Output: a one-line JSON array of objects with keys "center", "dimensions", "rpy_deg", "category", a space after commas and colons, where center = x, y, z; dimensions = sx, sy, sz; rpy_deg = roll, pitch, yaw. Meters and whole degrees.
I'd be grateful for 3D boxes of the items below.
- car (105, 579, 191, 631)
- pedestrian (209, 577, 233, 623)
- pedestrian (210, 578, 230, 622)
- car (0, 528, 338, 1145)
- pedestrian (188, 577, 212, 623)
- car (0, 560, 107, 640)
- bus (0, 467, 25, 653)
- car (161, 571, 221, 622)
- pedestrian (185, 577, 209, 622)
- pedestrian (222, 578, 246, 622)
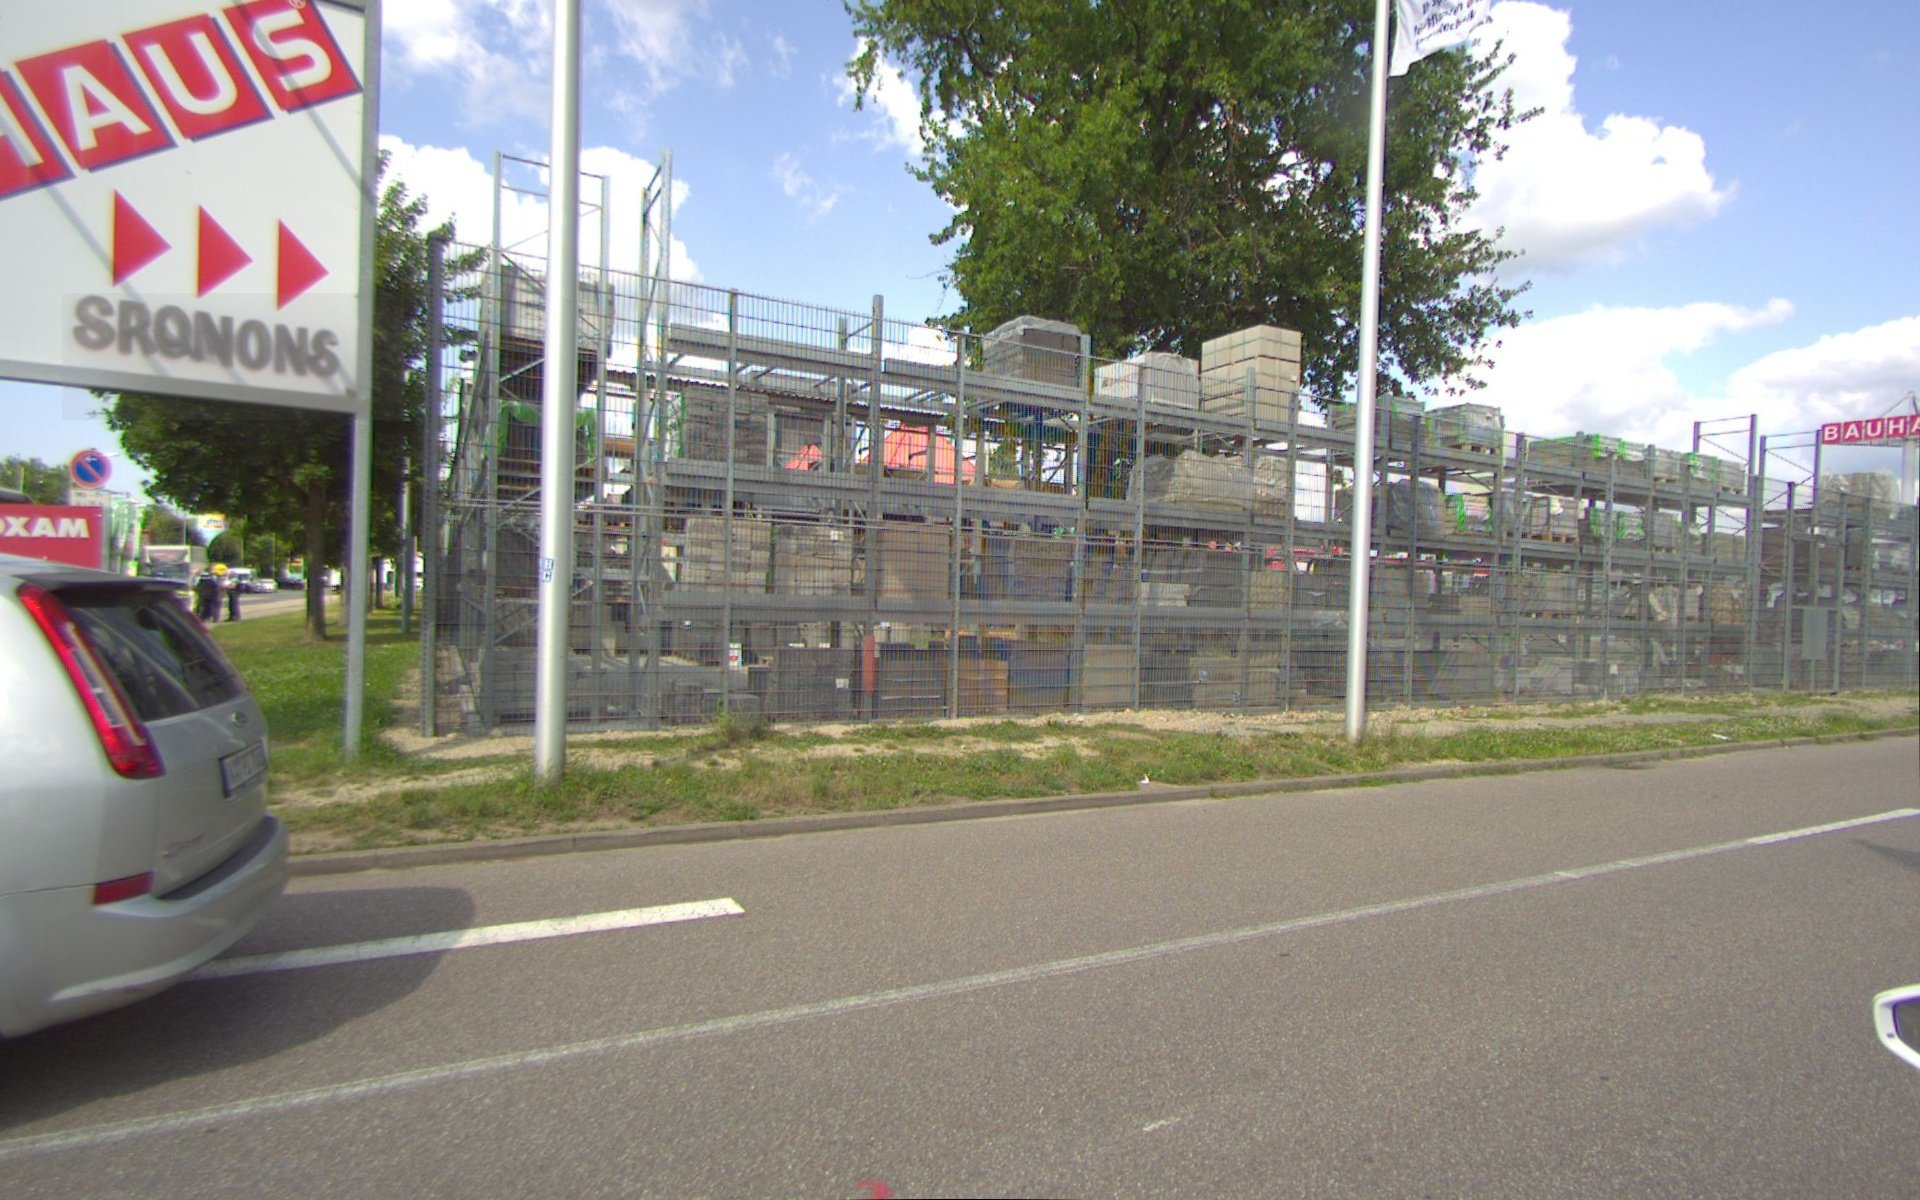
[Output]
[{"center": [-26.221, 0.161, 32.530], "dimensions": [1.539, 1.570, 3.179], "rpy_deg": [0, 0, -27], "category": "car"}, {"center": [-24.093, 0.008, 32.751], "dimensions": [0.382, 1.448, 0.377], "rpy_deg": [4, -2, 0], "category": "pedestrian"}, {"center": [-24.796, -0.001, 33.666], "dimensions": [0.371, 1.448, 0.388], "rpy_deg": [2, -3, 45], "category": "pedestrian"}, {"center": [-4.236, 0.561, 2.680], "dimensions": [4.152, 1.585, 1.712], "rpy_deg": [2, 0, -25], "category": "car"}, {"center": [-24.547, 0.011, 32.443], "dimensions": [0.382, 1.448, 0.377], "rpy_deg": [4, -2, 0], "category": "pedestrian"}, {"center": [-22.302, 0.004, 24.530], "dimensions": [1.430, 1.829, 3.614], "rpy_deg": [0, 0, -27], "category": "car"}, {"center": [-16.708, -0.700, 13.585], "dimensions": [2.856, 3.409, 11.486], "rpy_deg": [1, 0, -27], "category": "bus"}, {"center": [-29.425, -0.115, 38.504], "dimensions": [1.332, 1.779, 2.857], "rpy_deg": [5, -2, -30], "category": "car"}, {"center": [-25.014, -0.003, 32.938], "dimensions": [0.382, 1.448, 0.377], "rpy_deg": [4, -2, 0], "category": "pedestrian"}, {"center": [-24.172, 0.006, 33.436], "dimensions": [0.382, 1.448, 0.377], "rpy_deg": [4, -2, 0], "category": "pedestrian"}]
